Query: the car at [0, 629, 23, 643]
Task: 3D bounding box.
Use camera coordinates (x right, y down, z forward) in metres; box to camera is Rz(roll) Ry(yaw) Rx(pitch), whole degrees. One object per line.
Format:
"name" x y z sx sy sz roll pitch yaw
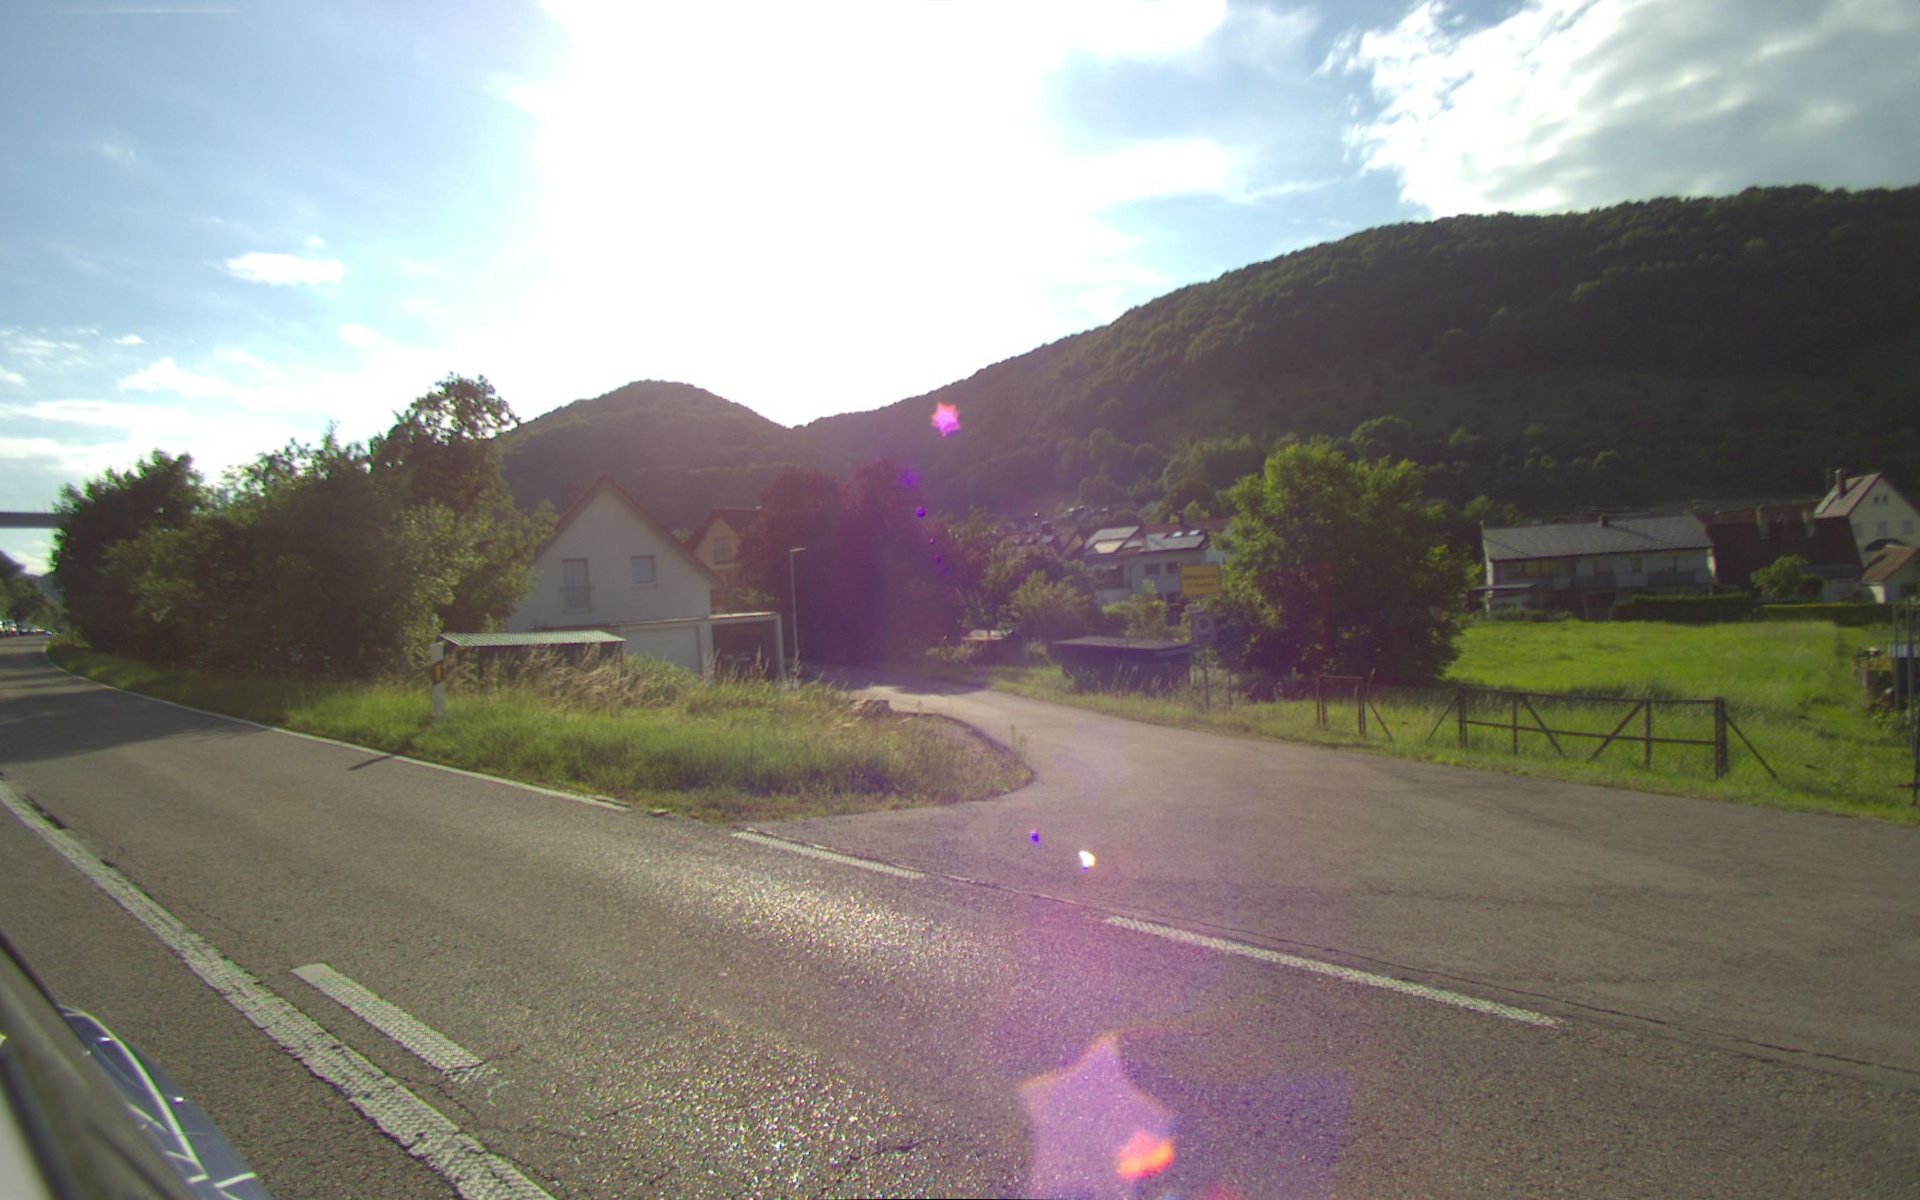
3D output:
"car" -113.960 4.305 121.395 1.813 1.564 4.186 1 -2 -37

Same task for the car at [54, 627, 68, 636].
"car" -157.664 5.552 177.465 1.792 1.630 3.809 1 -2 -43
